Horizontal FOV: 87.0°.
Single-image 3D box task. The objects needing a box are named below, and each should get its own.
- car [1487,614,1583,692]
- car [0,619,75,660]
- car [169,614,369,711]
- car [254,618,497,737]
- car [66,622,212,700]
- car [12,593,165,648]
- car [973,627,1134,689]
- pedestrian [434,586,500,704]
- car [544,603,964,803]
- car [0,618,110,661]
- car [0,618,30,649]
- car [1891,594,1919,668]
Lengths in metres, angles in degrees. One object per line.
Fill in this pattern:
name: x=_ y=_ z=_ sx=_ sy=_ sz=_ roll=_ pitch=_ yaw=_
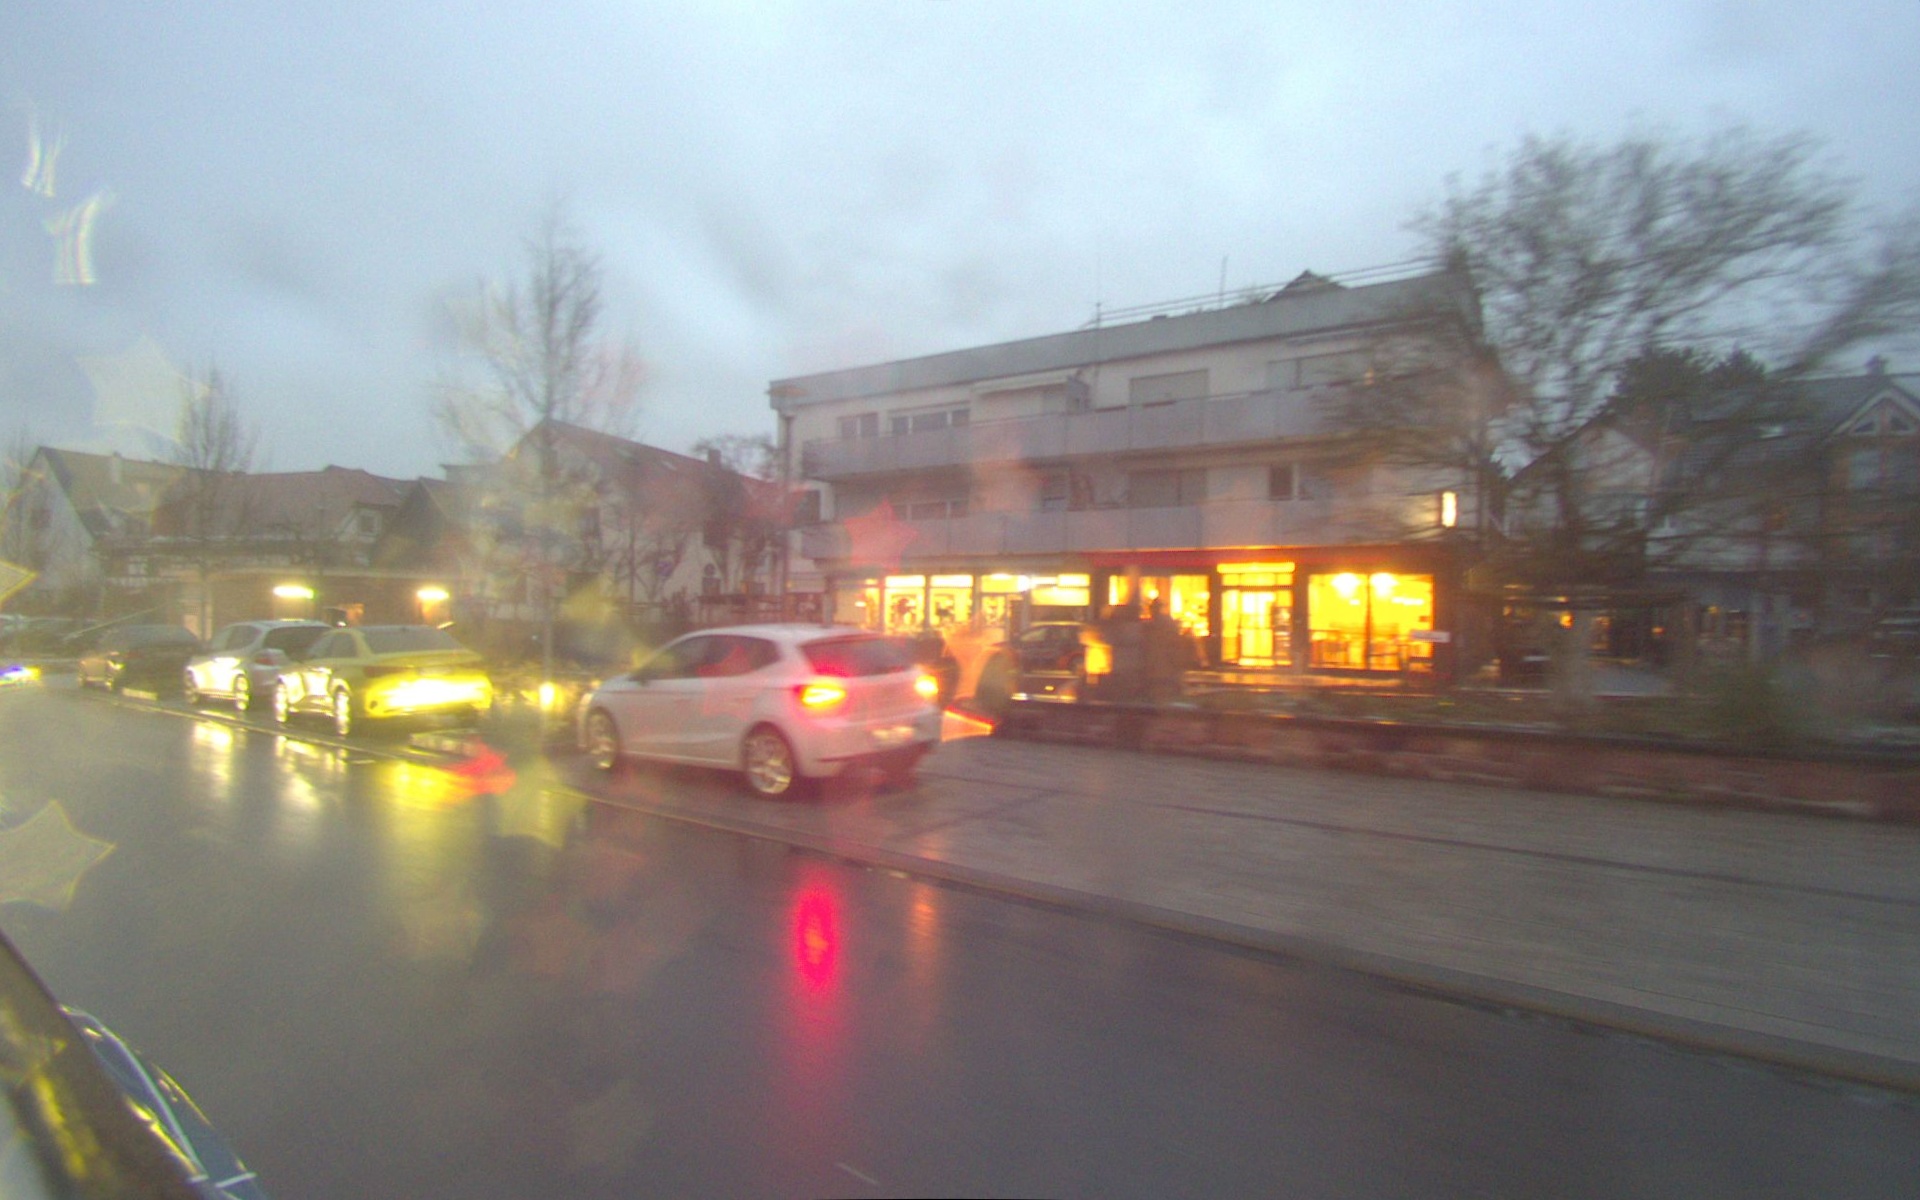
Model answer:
car: x=14.940 y=1.346 z=26.313 sx=1.992 sy=1.858 sz=3.959 roll=-1 pitch=-2 yaw=30
car: x=-38.936 y=1.625 z=41.475 sx=3.937 sy=1.559 sz=2.003 roll=-1 pitch=0 yaw=-40
car: x=-12.531 y=1.048 z=18.313 sx=3.664 sy=1.546 sz=1.858 roll=-1 pitch=0 yaw=36
car: x=-8.562 y=1.025 z=14.663 sx=4.374 sy=1.442 sz=1.677 roll=-2 pitch=-1 yaw=40
car: x=-18.582 y=1.303 z=22.850 sx=4.135 sy=1.546 sz=1.817 roll=-1 pitch=0 yaw=40
car: x=-30.696 y=0.693 z=35.787 sx=3.934 sy=1.776 sz=1.437 roll=-2 pitch=0 yaw=-36
car: x=2.576 y=1.546 z=27.953 sx=3.988 sy=1.576 sz=1.978 roll=-1 pitch=-2 yaw=33
pedestrian: x=-8.773 y=0.791 z=17.992 sx=0.889 sy=2.029 sz=0.792 roll=0 pitch=-2 yaw=-41
car: x=-2.127 y=0.811 z=9.755 sx=4.179 sy=1.500 sz=1.766 roll=-1 pitch=0 yaw=40
car: x=-36.448 y=1.536 z=40.368 sx=3.786 sy=1.557 sz=2.002 roll=-1 pitch=0 yaw=-43
car: x=-41.858 y=1.440 z=42.584 sx=2.001 sy=1.309 sz=3.941 roll=-1 pitch=0 yaw=45
car: x=25.590 y=0.777 z=26.185 sx=1.564 sy=1.871 sz=3.276 roll=-1 pitch=-1 yaw=32
